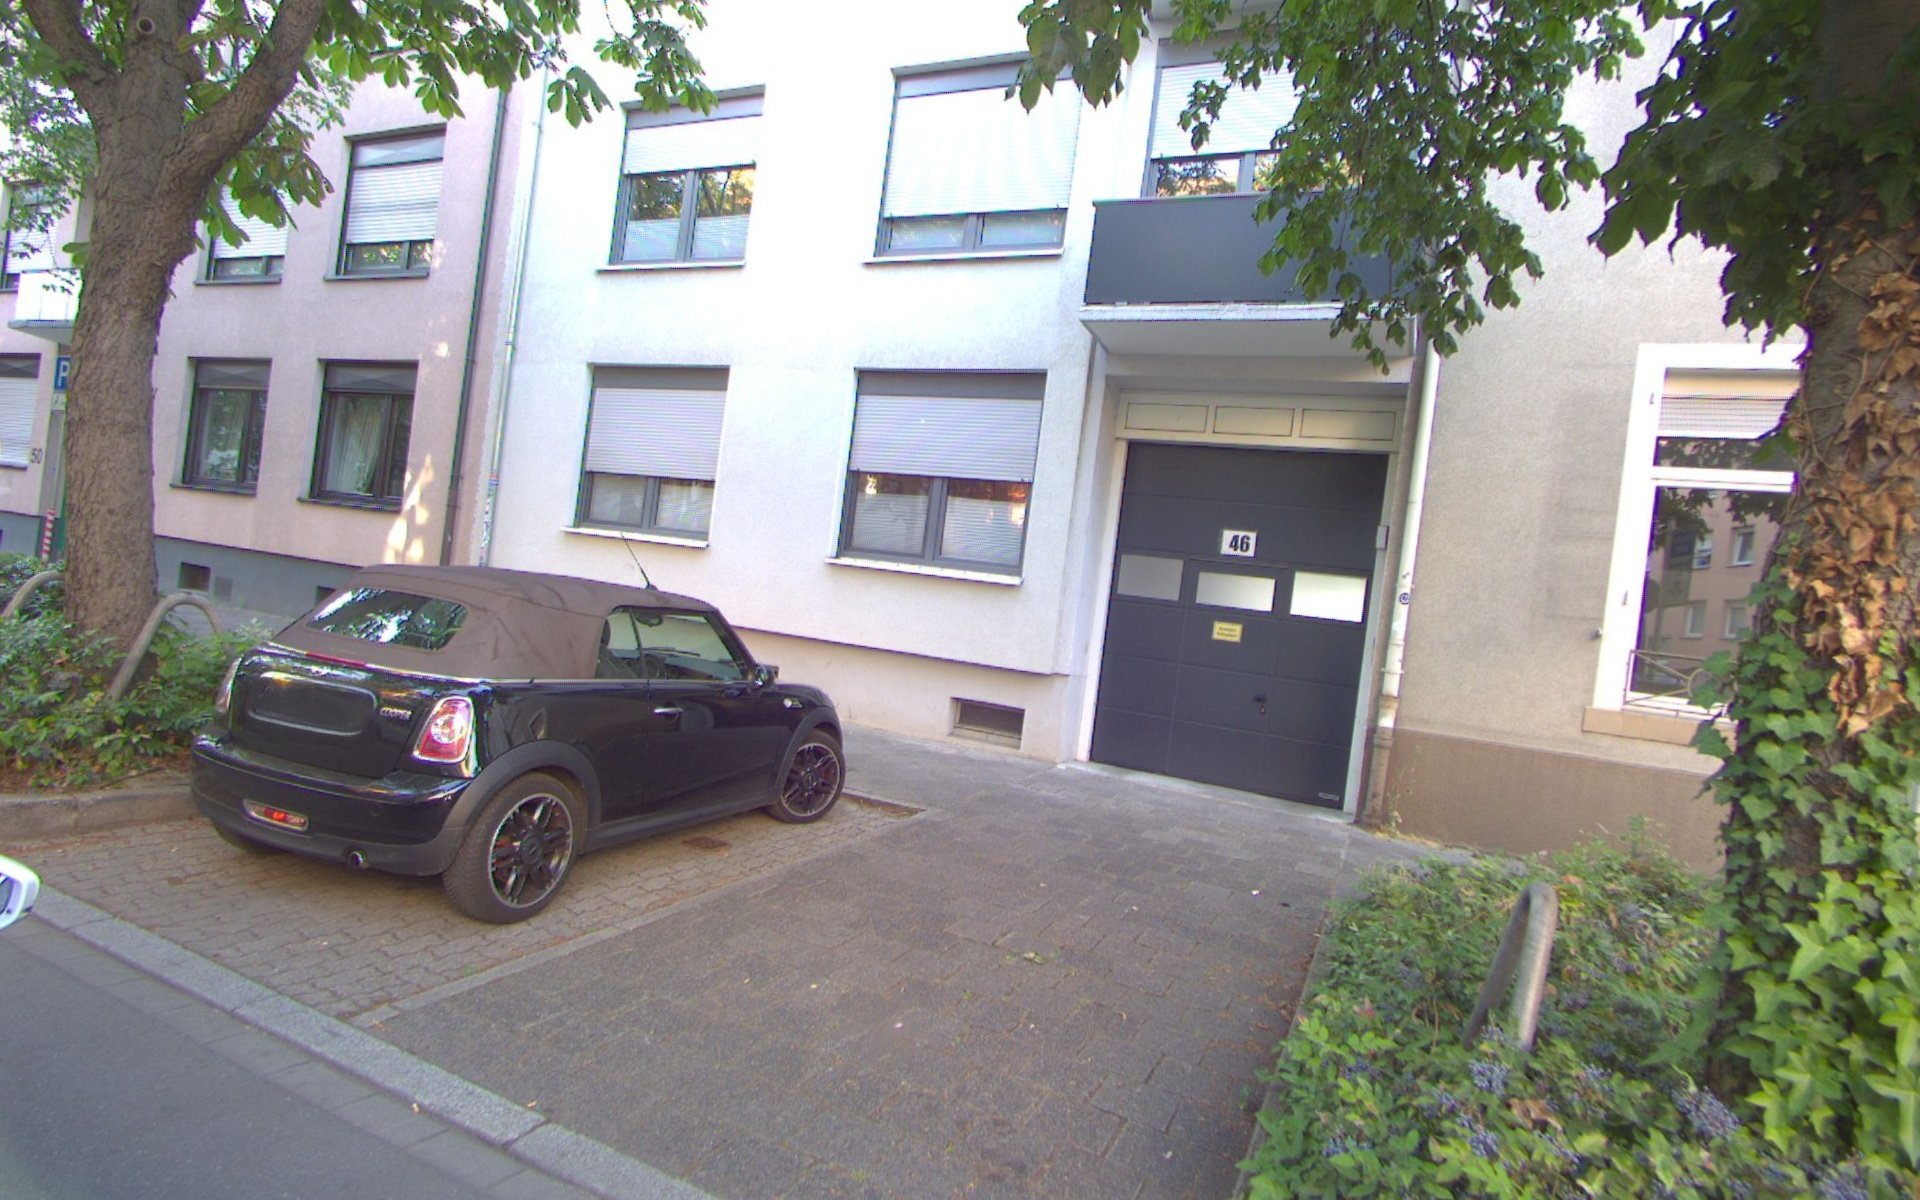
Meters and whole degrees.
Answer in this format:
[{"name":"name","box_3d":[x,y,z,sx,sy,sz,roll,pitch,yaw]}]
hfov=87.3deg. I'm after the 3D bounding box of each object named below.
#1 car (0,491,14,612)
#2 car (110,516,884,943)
[{"name":"car","box_3d":[-13.352,-0.811,11.042,1.634,1.494,3.921,7,-1,24]},{"name":"car","box_3d":[-2.022,0.546,5.531,1.634,1.380,3.622,7,-1,22]}]
